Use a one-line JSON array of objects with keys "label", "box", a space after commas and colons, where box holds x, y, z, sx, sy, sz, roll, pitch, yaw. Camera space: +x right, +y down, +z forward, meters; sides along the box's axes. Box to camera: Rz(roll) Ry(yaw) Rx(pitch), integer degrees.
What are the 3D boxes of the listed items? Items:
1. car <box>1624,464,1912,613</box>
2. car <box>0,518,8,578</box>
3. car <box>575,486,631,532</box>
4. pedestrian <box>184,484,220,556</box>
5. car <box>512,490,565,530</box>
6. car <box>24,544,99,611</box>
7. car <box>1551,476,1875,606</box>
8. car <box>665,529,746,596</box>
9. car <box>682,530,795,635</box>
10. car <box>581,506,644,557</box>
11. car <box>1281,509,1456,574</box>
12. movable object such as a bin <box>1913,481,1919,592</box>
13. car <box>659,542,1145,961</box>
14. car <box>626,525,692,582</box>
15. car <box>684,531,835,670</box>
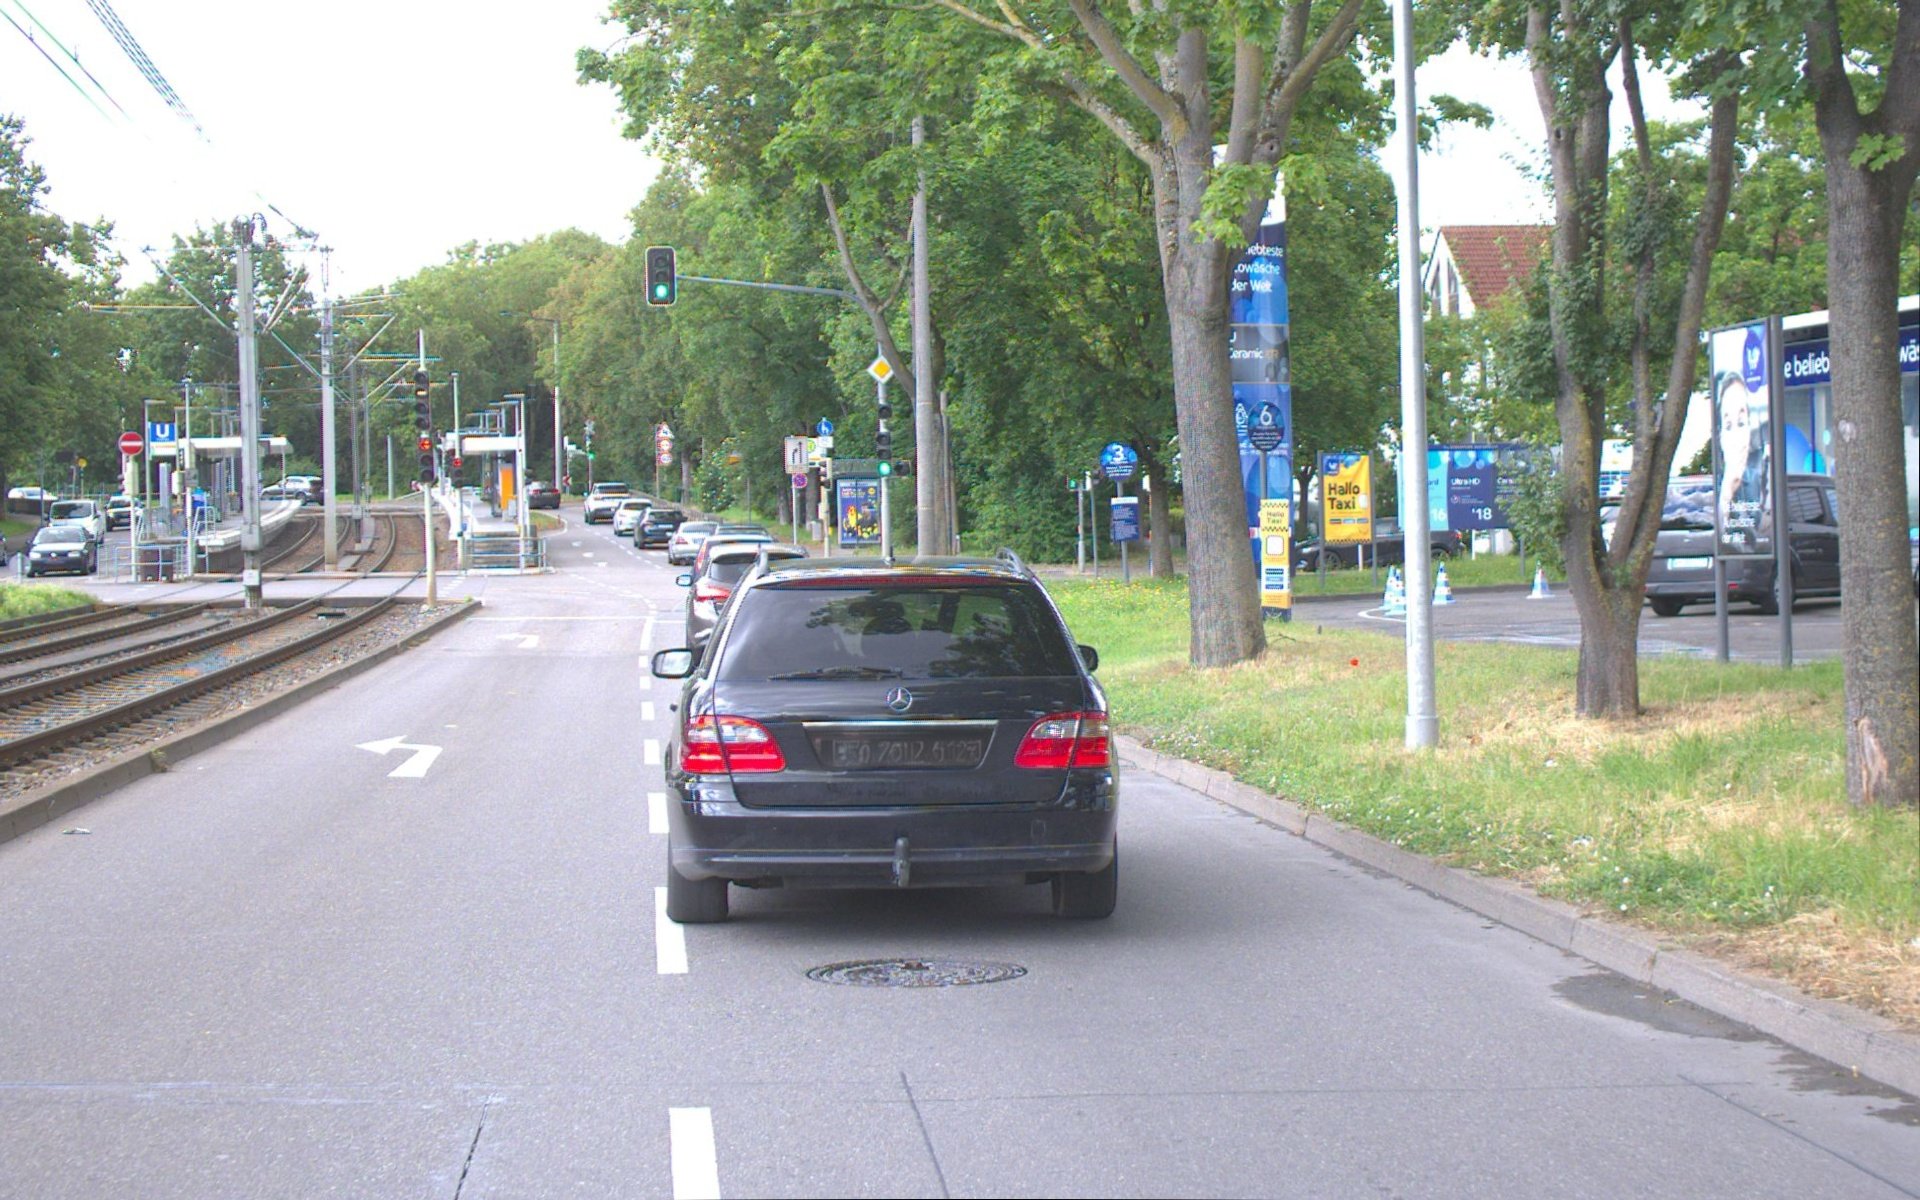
[{"label": "car", "box": [10.631, -0.828, 45.019, 1.750, 1.815, 4.374, -1, 2, 42]}, {"label": "car", "box": [-32.766, -1.699, 113.753, 1.993, 2.007, 4.108, -2, 1, -10]}, {"label": "car", "box": [-16.028, -4.076, 154.181, 1.993, 2.007, 4.001, 1, 1, -13]}, {"label": "pedestrian", "box": [-23.325, -2.458, 105.774, 0.969, 2.178, 0.976, -1, 2, -7]}, {"label": "car", "box": [-21.964, -4.692, 179.077, 1.993, 2.007, 4.001, 1, 1, -17]}, {"label": "car", "box": [-25.900, -0.659, 99.194, 1.696, 1.854, 4.001, 1, 1, -9]}, {"label": "car", "box": [10.756, -0.862, 49.118, 4.198, 1.691, 1.841, -2, 2, -23]}, {"label": "car", "box": [-7.522, -1.107, 101.276, 1.993, 1.886, 4.001, 1, 1, -9]}, {"label": "car", "box": [-3.658, -0.310, 57.223, 1.781, 1.642, 4.001, 1, 1, -3]}, {"label": "car", "box": [-13.936, -2.736, 137.618, 1.993, 2.007, 4.001, 1, 1, -13]}, {"label": "car", "box": [10.223, -1.471, 86.272, 4.152, 1.521, 1.704, -1, 1, 0]}, {"label": "movable object such as a bin", "box": [13.378, -0.846, 45.136, 1.158, 1.469, 1.388, -2, 1, -9]}, {"label": "car", "box": [-0.376, 0.519, 14.590, 1.781, 1.520, 4.001, 0, 1, -5]}, {"label": "car", "box": [-10.582, -1.637, 120.592, 1.993, 1.960, 4.001, 1, 1, -9]}, {"label": "car", "box": [-2.521, -0.023, 43.433, 1.781, 1.642, 4.001, 1, 1, -3]}]
